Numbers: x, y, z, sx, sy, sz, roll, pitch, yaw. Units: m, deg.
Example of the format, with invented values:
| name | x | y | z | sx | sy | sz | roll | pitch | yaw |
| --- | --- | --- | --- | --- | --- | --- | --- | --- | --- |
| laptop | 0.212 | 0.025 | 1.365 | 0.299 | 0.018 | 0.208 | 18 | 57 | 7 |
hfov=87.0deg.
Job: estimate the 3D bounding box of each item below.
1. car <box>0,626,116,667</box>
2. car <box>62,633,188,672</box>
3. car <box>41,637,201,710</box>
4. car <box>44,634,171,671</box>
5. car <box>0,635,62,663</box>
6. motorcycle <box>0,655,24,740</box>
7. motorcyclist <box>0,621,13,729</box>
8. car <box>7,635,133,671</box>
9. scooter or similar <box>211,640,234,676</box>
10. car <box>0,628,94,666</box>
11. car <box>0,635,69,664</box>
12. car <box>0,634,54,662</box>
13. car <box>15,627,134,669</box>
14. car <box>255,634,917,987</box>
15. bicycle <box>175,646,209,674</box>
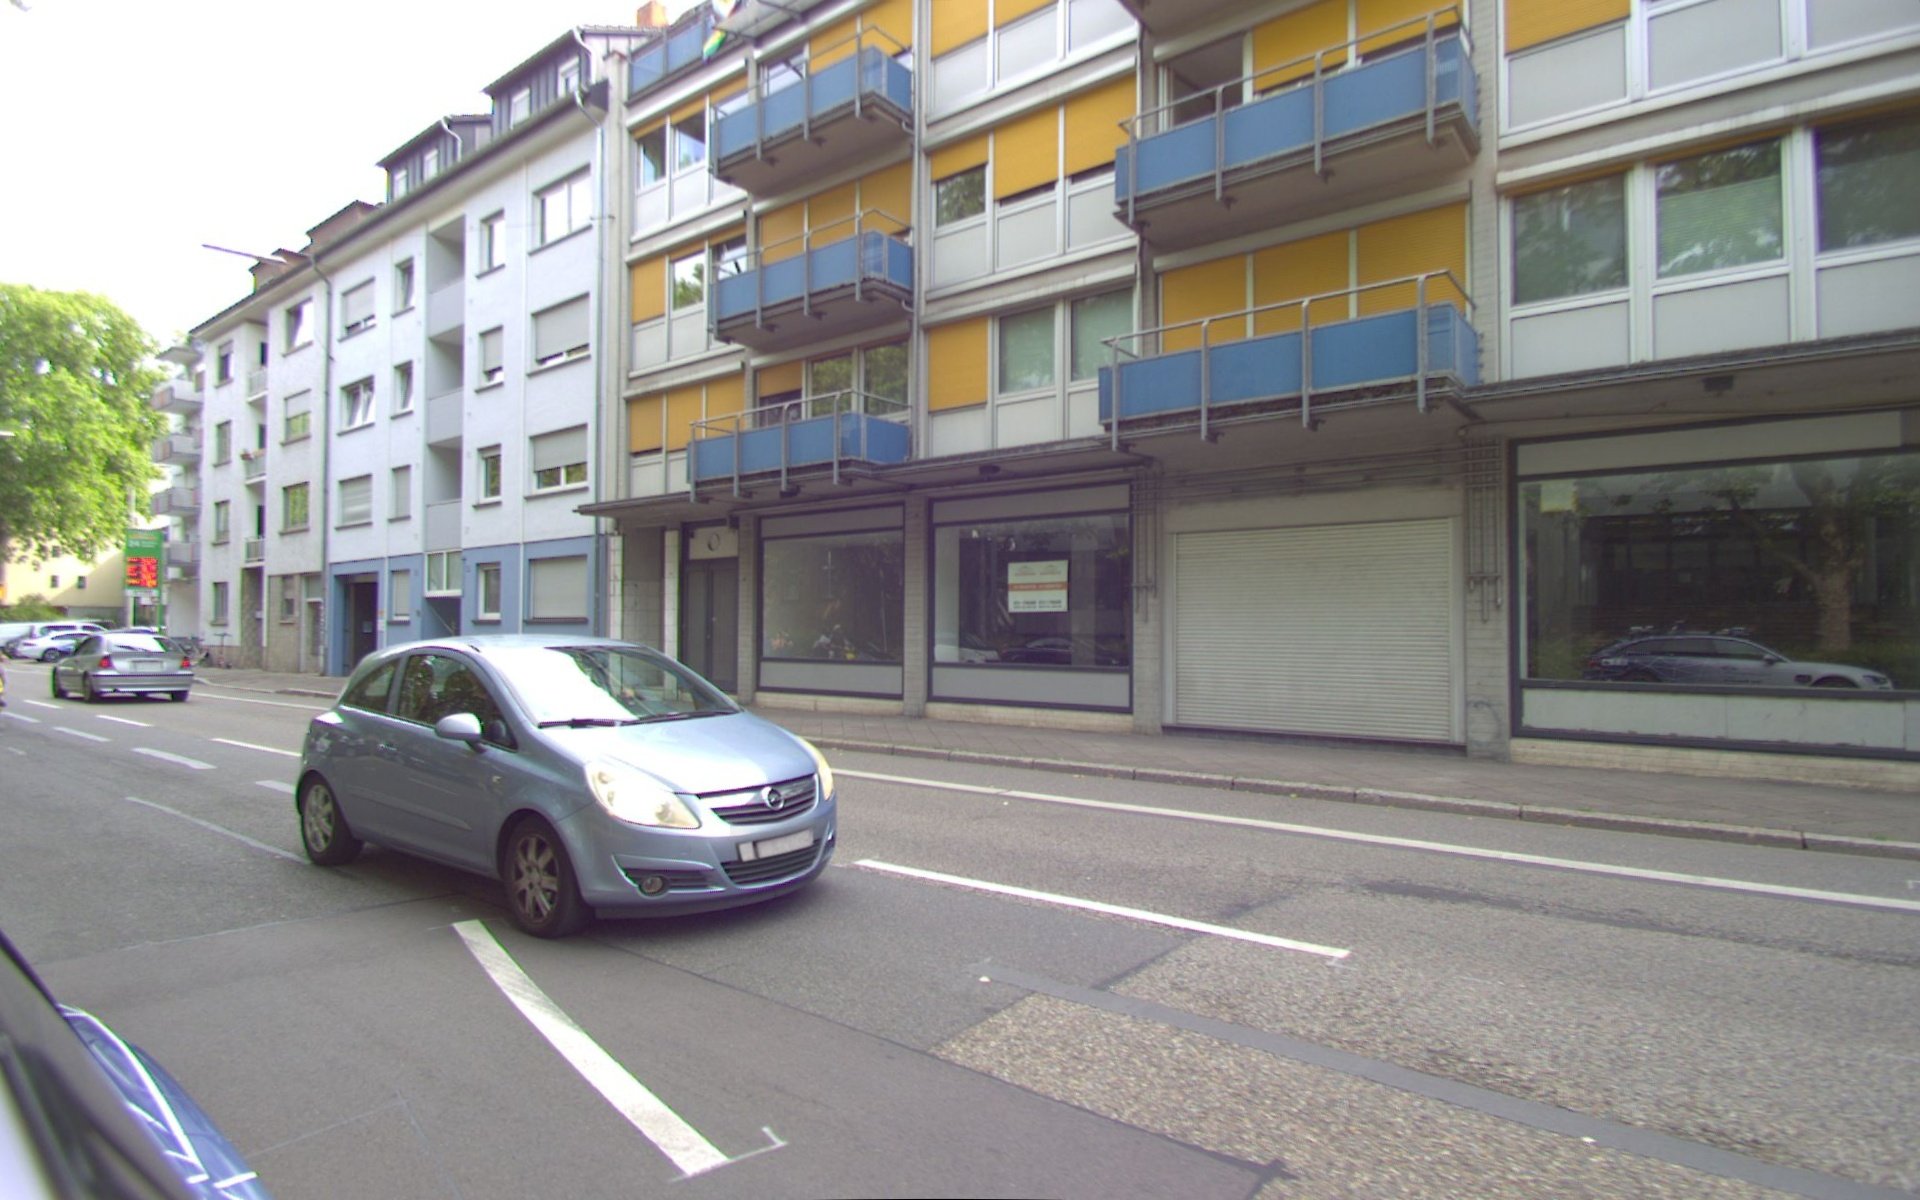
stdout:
| name | x | y | z | sx | sy | sz | roll | pitch | yaw |
| --- | --- | --- | --- | --- | --- | --- | --- | --- | --- |
| car | -48.912 | 2.484 | 54.732 | 1.992 | 1.949 | 4.720 | -2 | 0 | 39 |
| car | -37.911 | 2.340 | 46.013 | 1.835 | 1.525 | 4.111 | -2 | -1 | 38 |
| car | -18.168 | 1.533 | 21.858 | 4.092 | 1.438 | 1.741 | -2 | -4 | 37 |
| car | -39.794 | 2.423 | 47.323 | 1.908 | 1.462 | 4.259 | -2 | 0 | 38 |
| car | -57.940 | 3.020 | 61.855 | 1.731 | 1.560 | 4.319 | -2 | 0 | 39 |
| motorcycle | -14.956 | 1.440 | 15.229 | 2.628 | 1.206 | 0.893 | -2 | -3 | 39 |
| motorcyclist | -14.956 | 1.137 | 15.247 | 0.690 | 1.630 | 0.893 | -2 | -3 | 39 |
| car | -42.193 | 2.487 | 48.037 | 1.872 | 1.462 | 4.230 | -2 | 0 | 38 |
| scooter or similar | -25.629 | 1.996 | 35.167 | 1.200 | 1.231 | 0.346 | -2 | -2 | 39 |
| car | -51.004 | 2.588 | 55.903 | 1.948 | 1.873 | 4.571 | -2 | 0 | 39 |
| car | -56.258 | 2.979 | 60.555 | 1.717 | 1.522 | 4.223 | -2 | 0 | 39 |
| car | -59.793 | 3.062 | 63.237 | 1.752 | 1.618 | 4.474 | -2 | 0 | 39 |
| car | -43.875 | 2.341 | 50.195 | 1.922 | 1.862 | 4.170 | -2 | -1 | 38 |
| car | -2.437 | 0.932 | 6.105 | 4.245 | 1.431 | 1.697 | -2 | -2 | 36 |
| bicycle | -27.851 | 2.174 | 36.705 | 1.660 | 0.957 | 0.591 | -2 | -2 | 39 |
